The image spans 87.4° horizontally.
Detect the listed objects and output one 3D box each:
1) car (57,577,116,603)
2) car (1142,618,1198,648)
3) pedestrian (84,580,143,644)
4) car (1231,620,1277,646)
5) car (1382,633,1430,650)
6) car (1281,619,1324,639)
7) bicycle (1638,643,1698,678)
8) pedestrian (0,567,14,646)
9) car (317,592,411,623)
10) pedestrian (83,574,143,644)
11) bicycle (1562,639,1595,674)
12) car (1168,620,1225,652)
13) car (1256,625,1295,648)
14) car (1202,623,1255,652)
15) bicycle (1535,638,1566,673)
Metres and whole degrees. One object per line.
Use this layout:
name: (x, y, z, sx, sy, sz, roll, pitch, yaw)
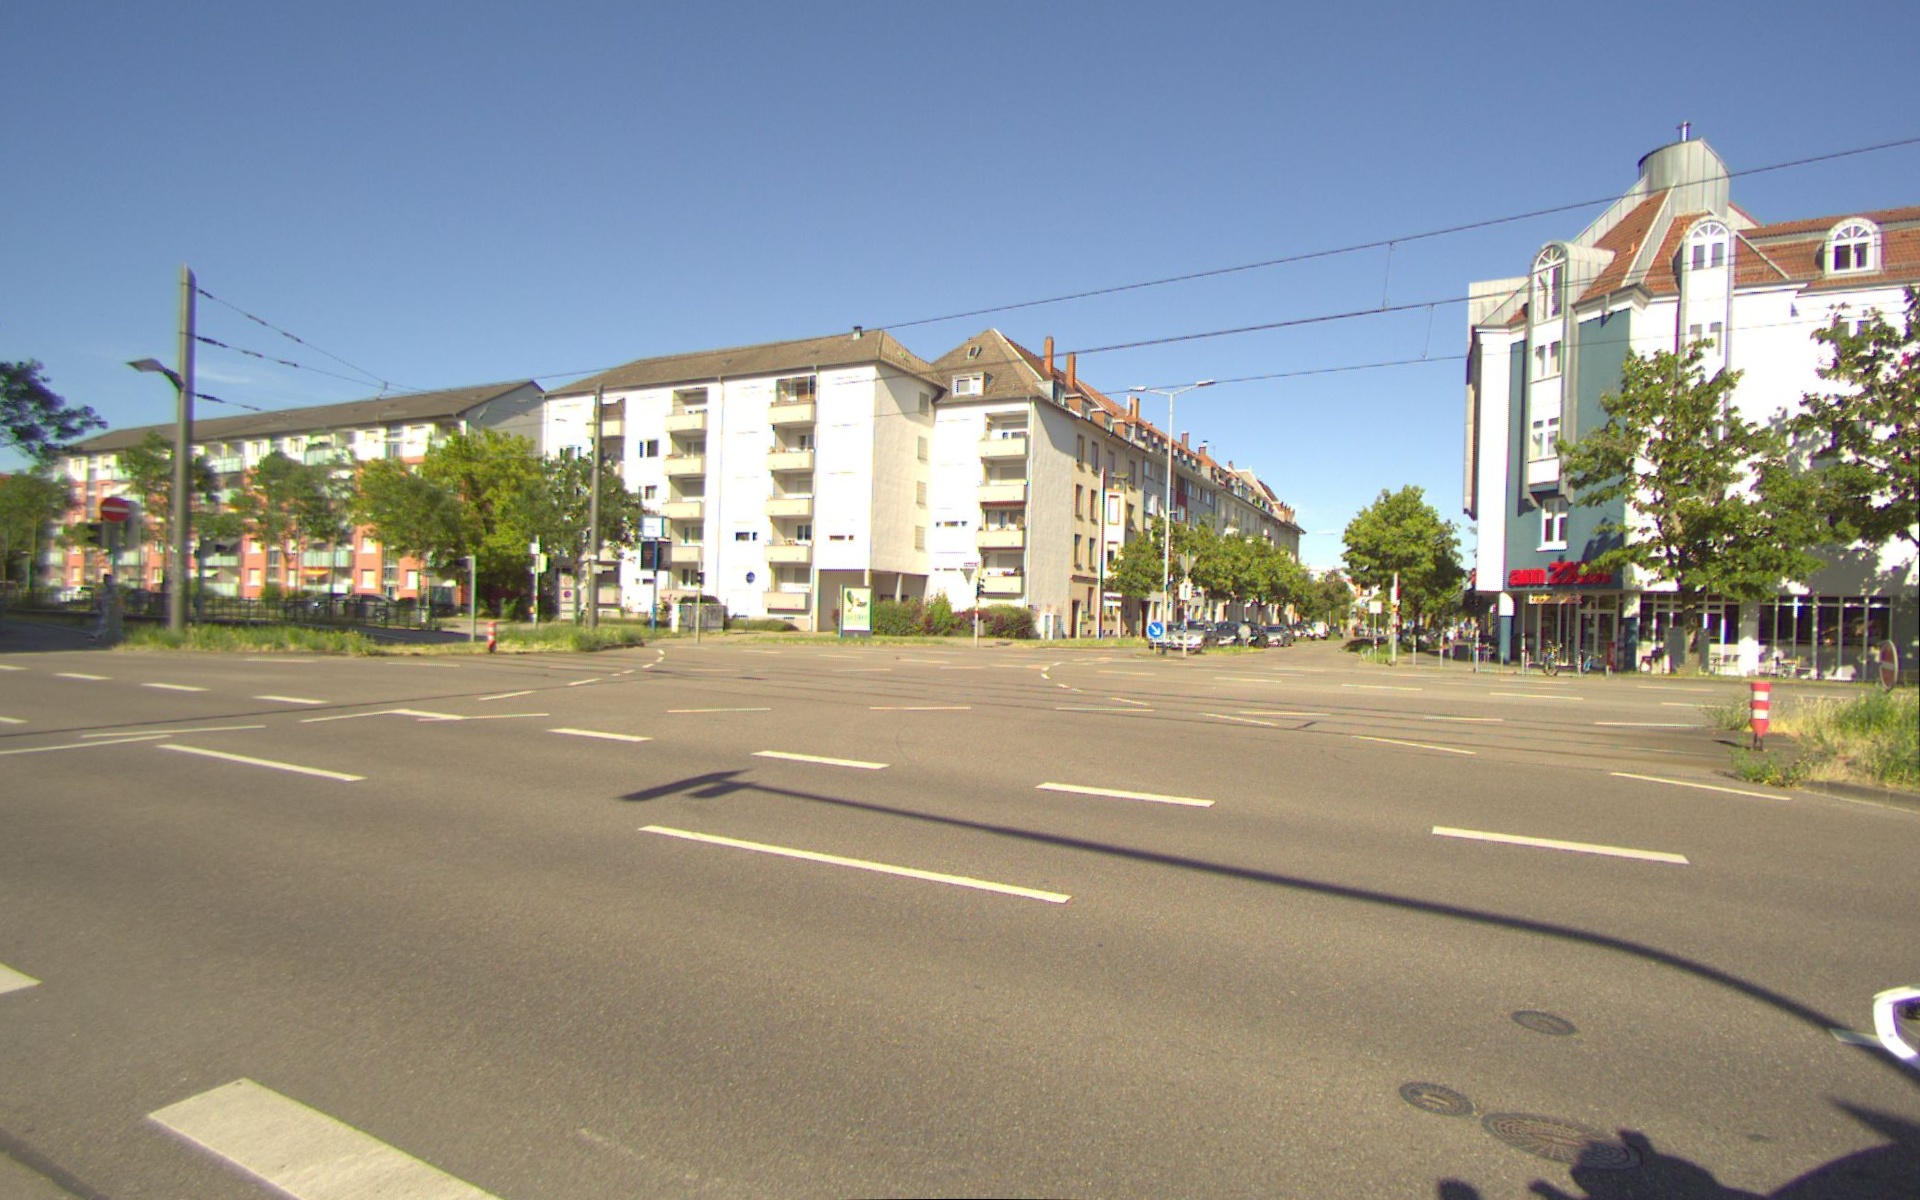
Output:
car: (-66.379, -0.759, 76.312, 3.925, 1.873, 1.998, 1, -1, 26)
car: (11.552, 1.805, 55.071, 1.663, 1.451, 4.392, 4, 0, 30)
pedestrian: (-21.119, 0.310, 25.064, 0.712, 1.554, 0.858, 1, -1, 23)
car: (18.275, 2.043, 62.379, 1.663, 1.451, 4.392, 4, 0, 30)
car: (36.348, 3.388, 81.844, 3.513, 1.239, 1.729, 2, -1, 27)
car: (39.346, 3.292, 115.269, 4.435, 2.040, 1.999, 2, -1, 26)
bicycle: (22.226, 1.883, 31.540, 1.493, 1.041, 0.471, 1, -1, 39)
pedestrian: (-22.539, 0.135, 22.866, 0.906, 1.794, 1.154, 1, -1, 23)
car: (-33.790, 0.422, 57.113, 4.339, 1.451, 1.683, 4, 0, -24)
pedestrian: (-21.903, 0.243, 25.994, 0.801, 1.749, 1.149, 2, -1, -20)
bicycle: (19.202, 1.740, 31.210, 0.463, 1.041, 1.517, 1, -1, 16)
car: (12.144, 1.842, 51.402, 1.663, 1.451, 4.393, 4, 0, 29)
car: (22.065, 2.554, 70.071, 1.663, 1.451, 4.393, 4, 0, 29)
car: (15.316, 2.133, 57.075, 1.664, 1.451, 4.390, 4, 0, 31)
bicycle: (18.294, 1.709, 31.114, 0.463, 1.041, 1.517, 1, -1, 17)
